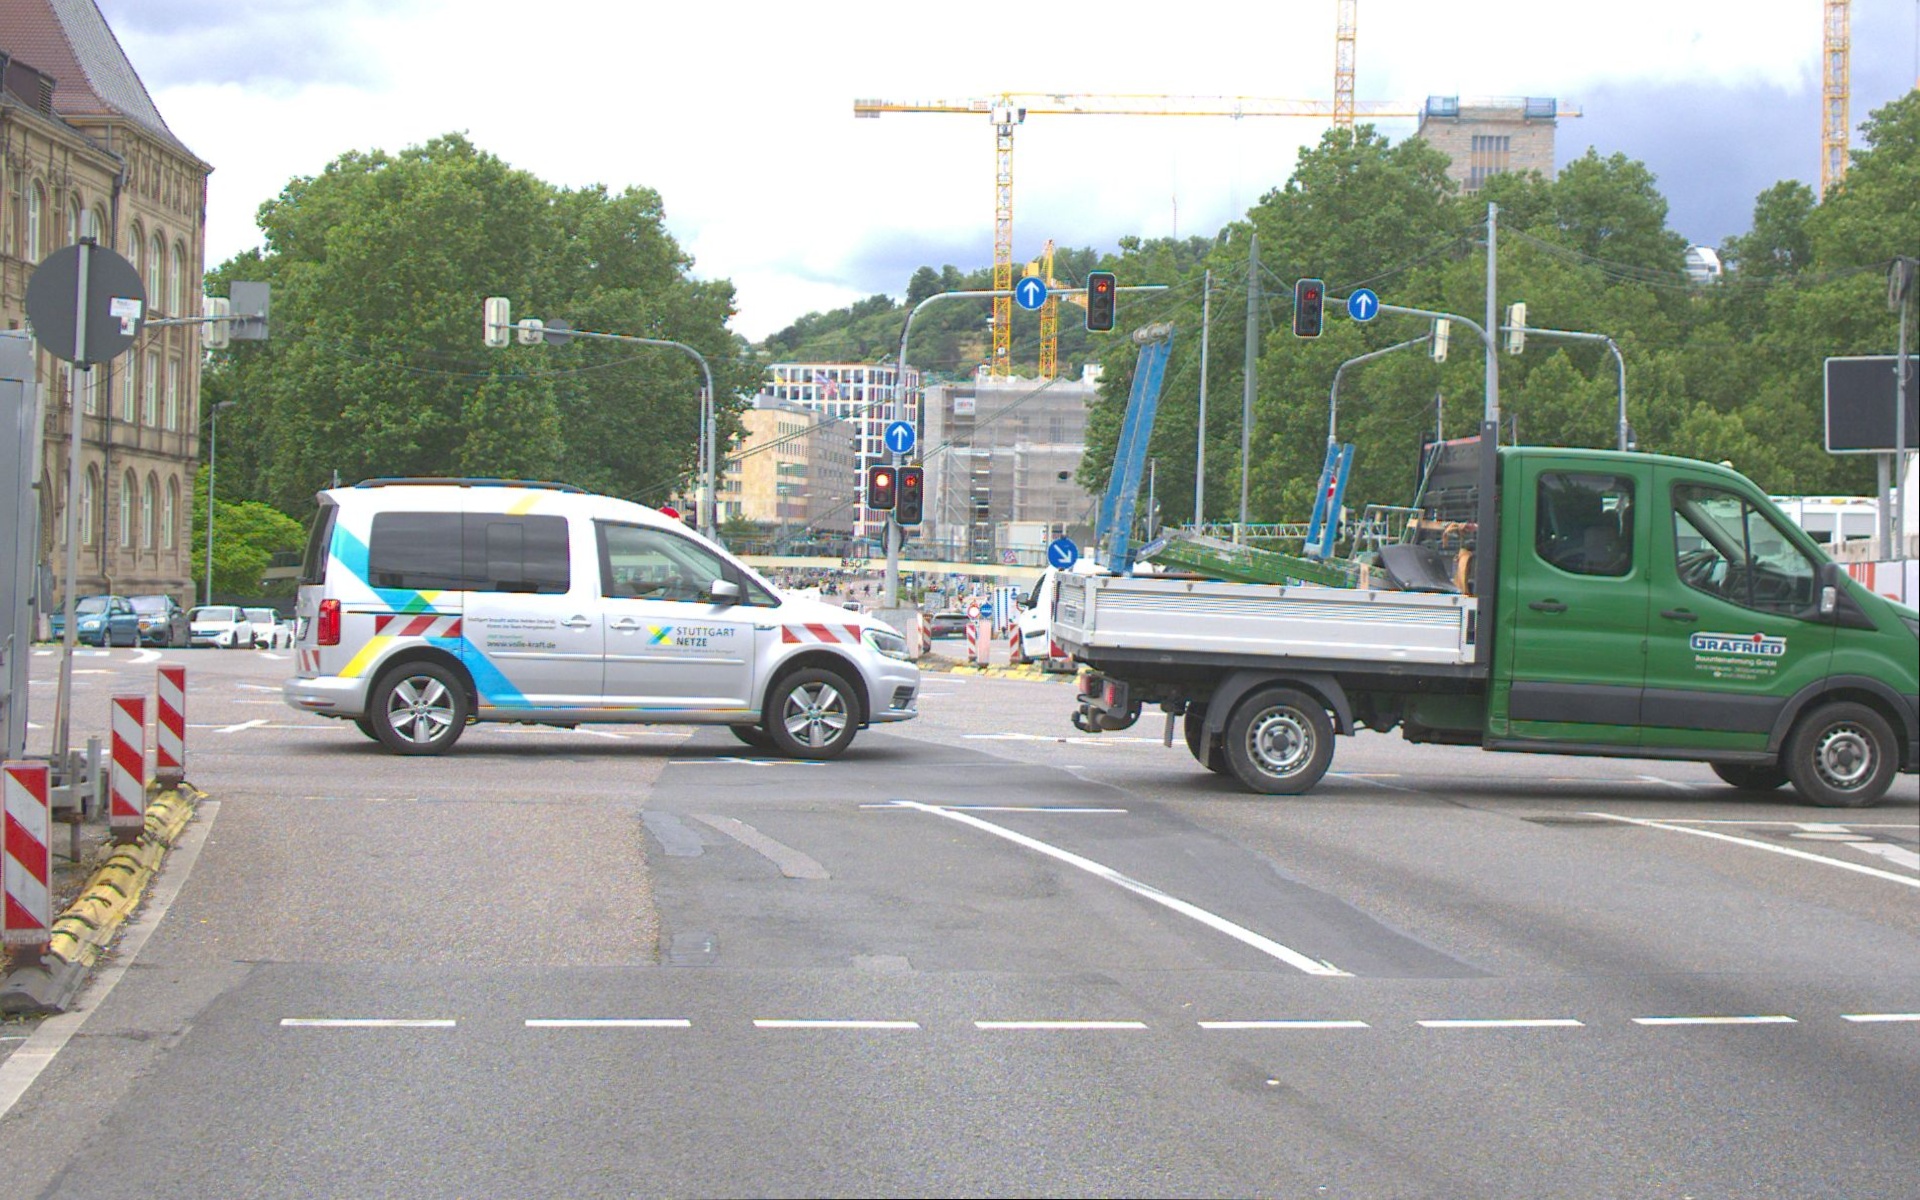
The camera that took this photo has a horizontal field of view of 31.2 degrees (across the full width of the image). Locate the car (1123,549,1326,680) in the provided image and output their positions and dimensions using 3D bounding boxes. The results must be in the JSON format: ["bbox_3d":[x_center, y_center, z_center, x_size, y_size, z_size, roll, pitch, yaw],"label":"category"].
[{"bbox_3d":[3.669,0.173,48.482,1.831,1.740,4.257,1,1,-10],"label":"car"}]

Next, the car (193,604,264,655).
[{"bbox_3d":[-21.333,0.862,100.305,1.675,1.393,3.684,1,1,-7],"label":"car"}]

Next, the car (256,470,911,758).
[{"bbox_3d":[-2.647,0.103,23.865,4.265,1.875,1.831,1,0,-15],"label":"car"}]

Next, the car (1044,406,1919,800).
[{"bbox_3d":[3.534,0.021,21.824,5.757,2.297,2.304,1,0,-5],"label":"car"}]

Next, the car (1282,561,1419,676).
[{"bbox_3d":[5.995,0.254,53.048,1.676,1.696,3.374,1,1,-1],"label":"car"}]

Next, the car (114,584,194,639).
[{"bbox_3d":[-21.761,0.302,92.922,1.675,1.393,3.684,1,1,-7],"label":"car"}]

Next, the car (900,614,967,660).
[{"bbox_3d":[-0.878,1.191,111.109,1.675,1.393,3.684,1,1,-8],"label":"car"}]

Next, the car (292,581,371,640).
[{"bbox_3d":[-15.632,0.254,85.632,1.675,1.393,3.684,1,1,-7],"label":"car"}]

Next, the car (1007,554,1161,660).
[{"bbox_3d":[1.960,0.085,55.528,1.816,1.619,4.001,1,1,-8],"label":"car"}]

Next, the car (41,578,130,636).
[{"bbox_3d":[-21.981,0.155,86.491,1.675,1.393,3.684,1,1,-7],"label":"car"}]
